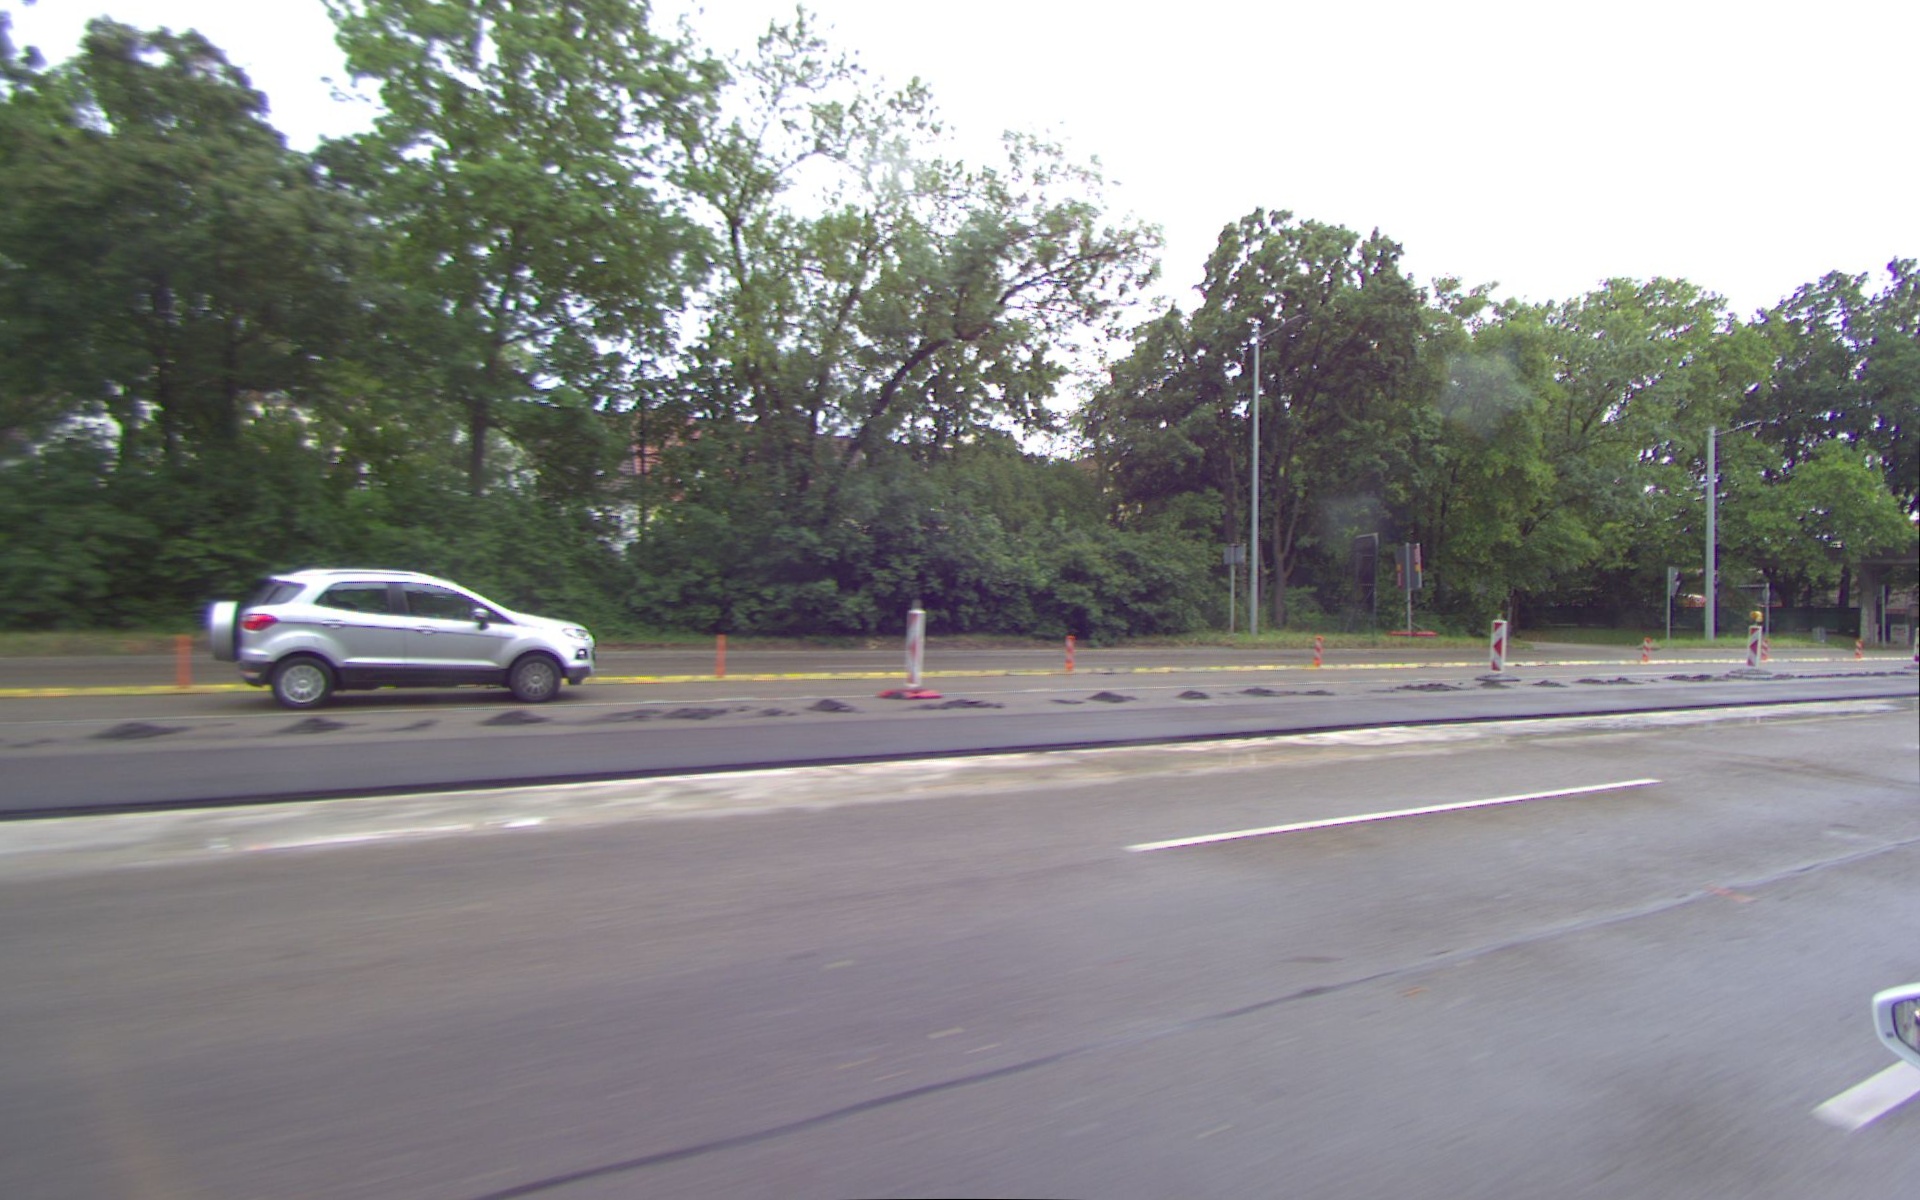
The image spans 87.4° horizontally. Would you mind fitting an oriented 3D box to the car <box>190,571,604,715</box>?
[{"bbox_3d":[-6.958,0.481,12.860,4.309,1.585,1.881,1,1,-28],"label":"car"}]
